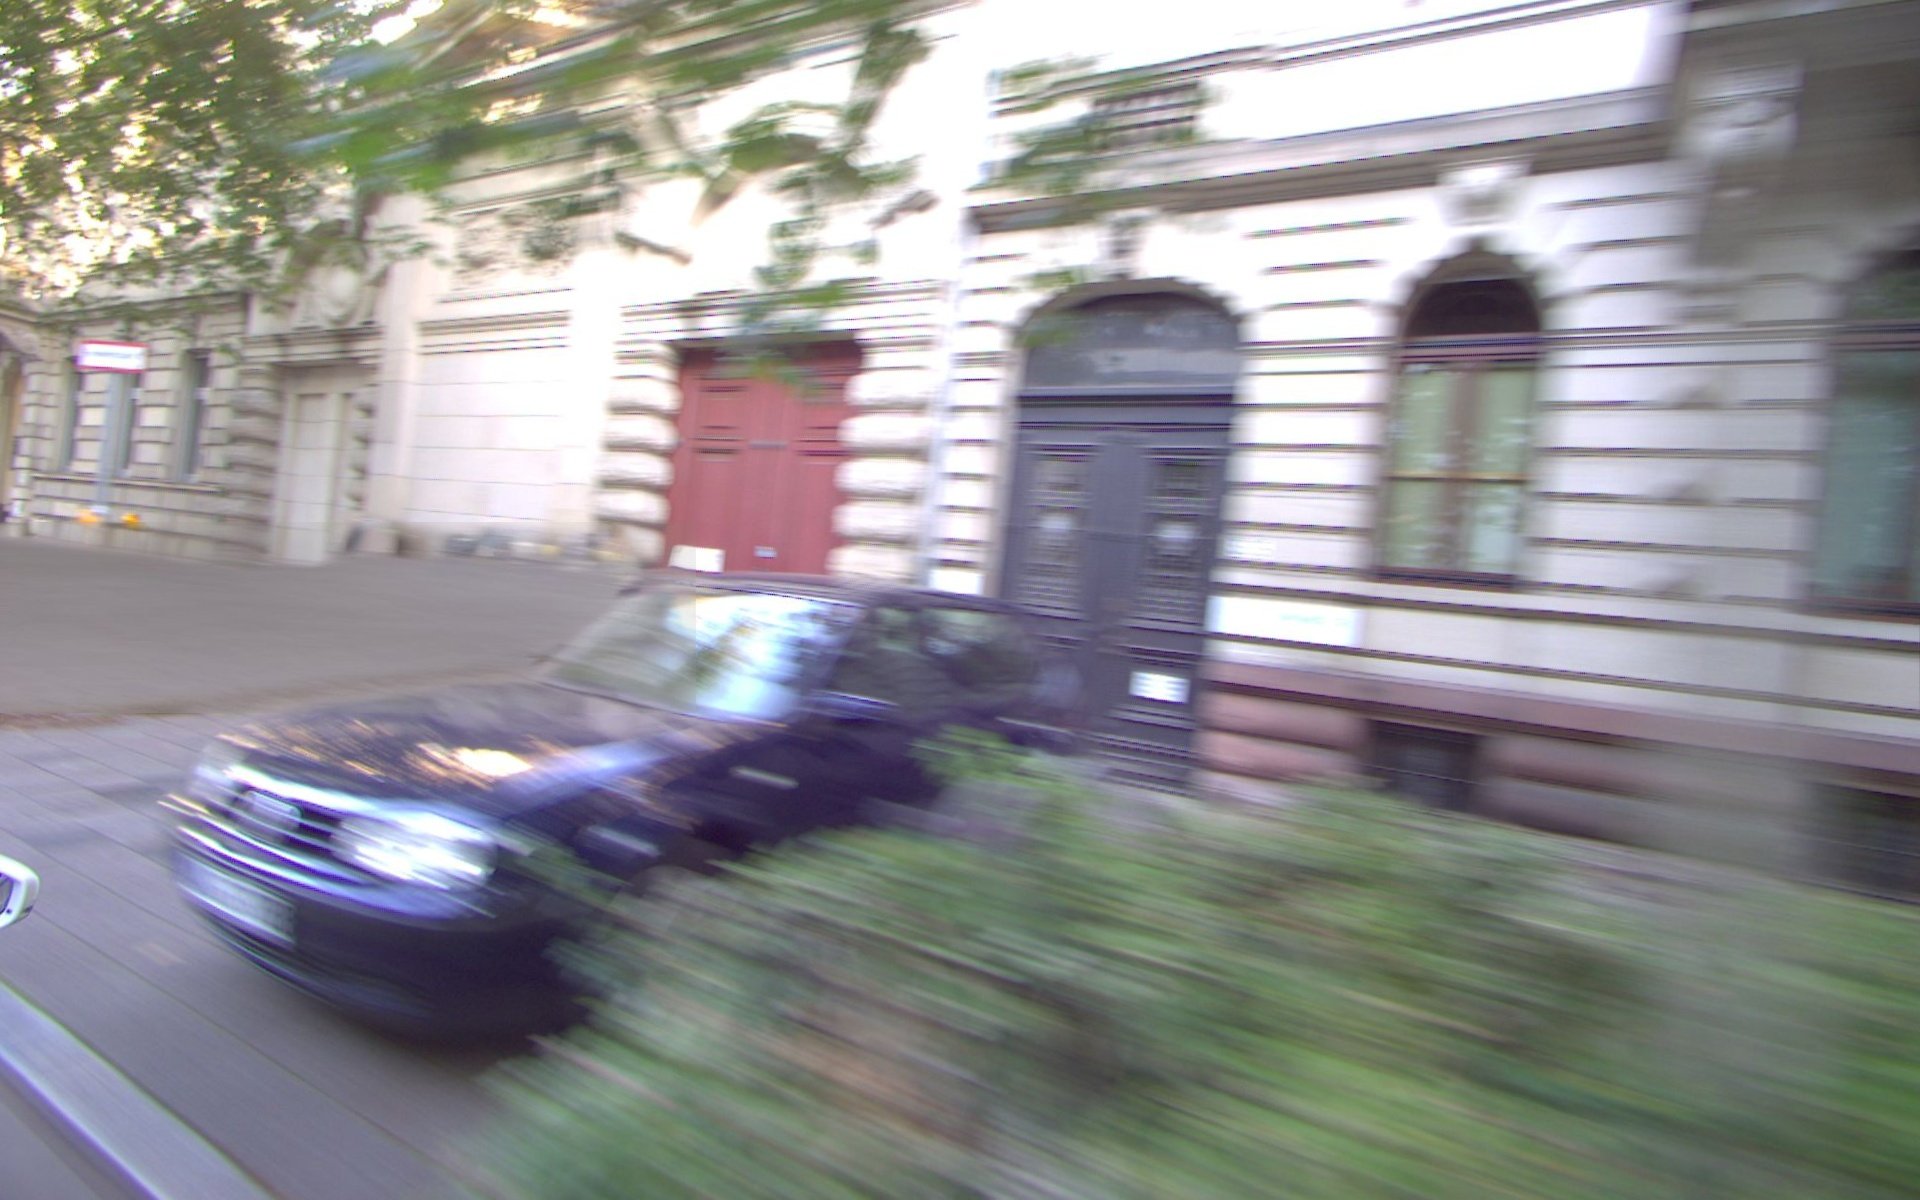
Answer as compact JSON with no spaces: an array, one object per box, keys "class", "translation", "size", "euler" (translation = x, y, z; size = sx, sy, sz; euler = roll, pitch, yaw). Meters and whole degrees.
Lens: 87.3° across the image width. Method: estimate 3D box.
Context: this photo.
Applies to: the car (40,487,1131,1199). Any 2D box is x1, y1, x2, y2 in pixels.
[{"class":"car","translation":[-0.923,0.568,4.423],"size":[1.823,1.500,4.227],"euler":[6,1,30]}]
